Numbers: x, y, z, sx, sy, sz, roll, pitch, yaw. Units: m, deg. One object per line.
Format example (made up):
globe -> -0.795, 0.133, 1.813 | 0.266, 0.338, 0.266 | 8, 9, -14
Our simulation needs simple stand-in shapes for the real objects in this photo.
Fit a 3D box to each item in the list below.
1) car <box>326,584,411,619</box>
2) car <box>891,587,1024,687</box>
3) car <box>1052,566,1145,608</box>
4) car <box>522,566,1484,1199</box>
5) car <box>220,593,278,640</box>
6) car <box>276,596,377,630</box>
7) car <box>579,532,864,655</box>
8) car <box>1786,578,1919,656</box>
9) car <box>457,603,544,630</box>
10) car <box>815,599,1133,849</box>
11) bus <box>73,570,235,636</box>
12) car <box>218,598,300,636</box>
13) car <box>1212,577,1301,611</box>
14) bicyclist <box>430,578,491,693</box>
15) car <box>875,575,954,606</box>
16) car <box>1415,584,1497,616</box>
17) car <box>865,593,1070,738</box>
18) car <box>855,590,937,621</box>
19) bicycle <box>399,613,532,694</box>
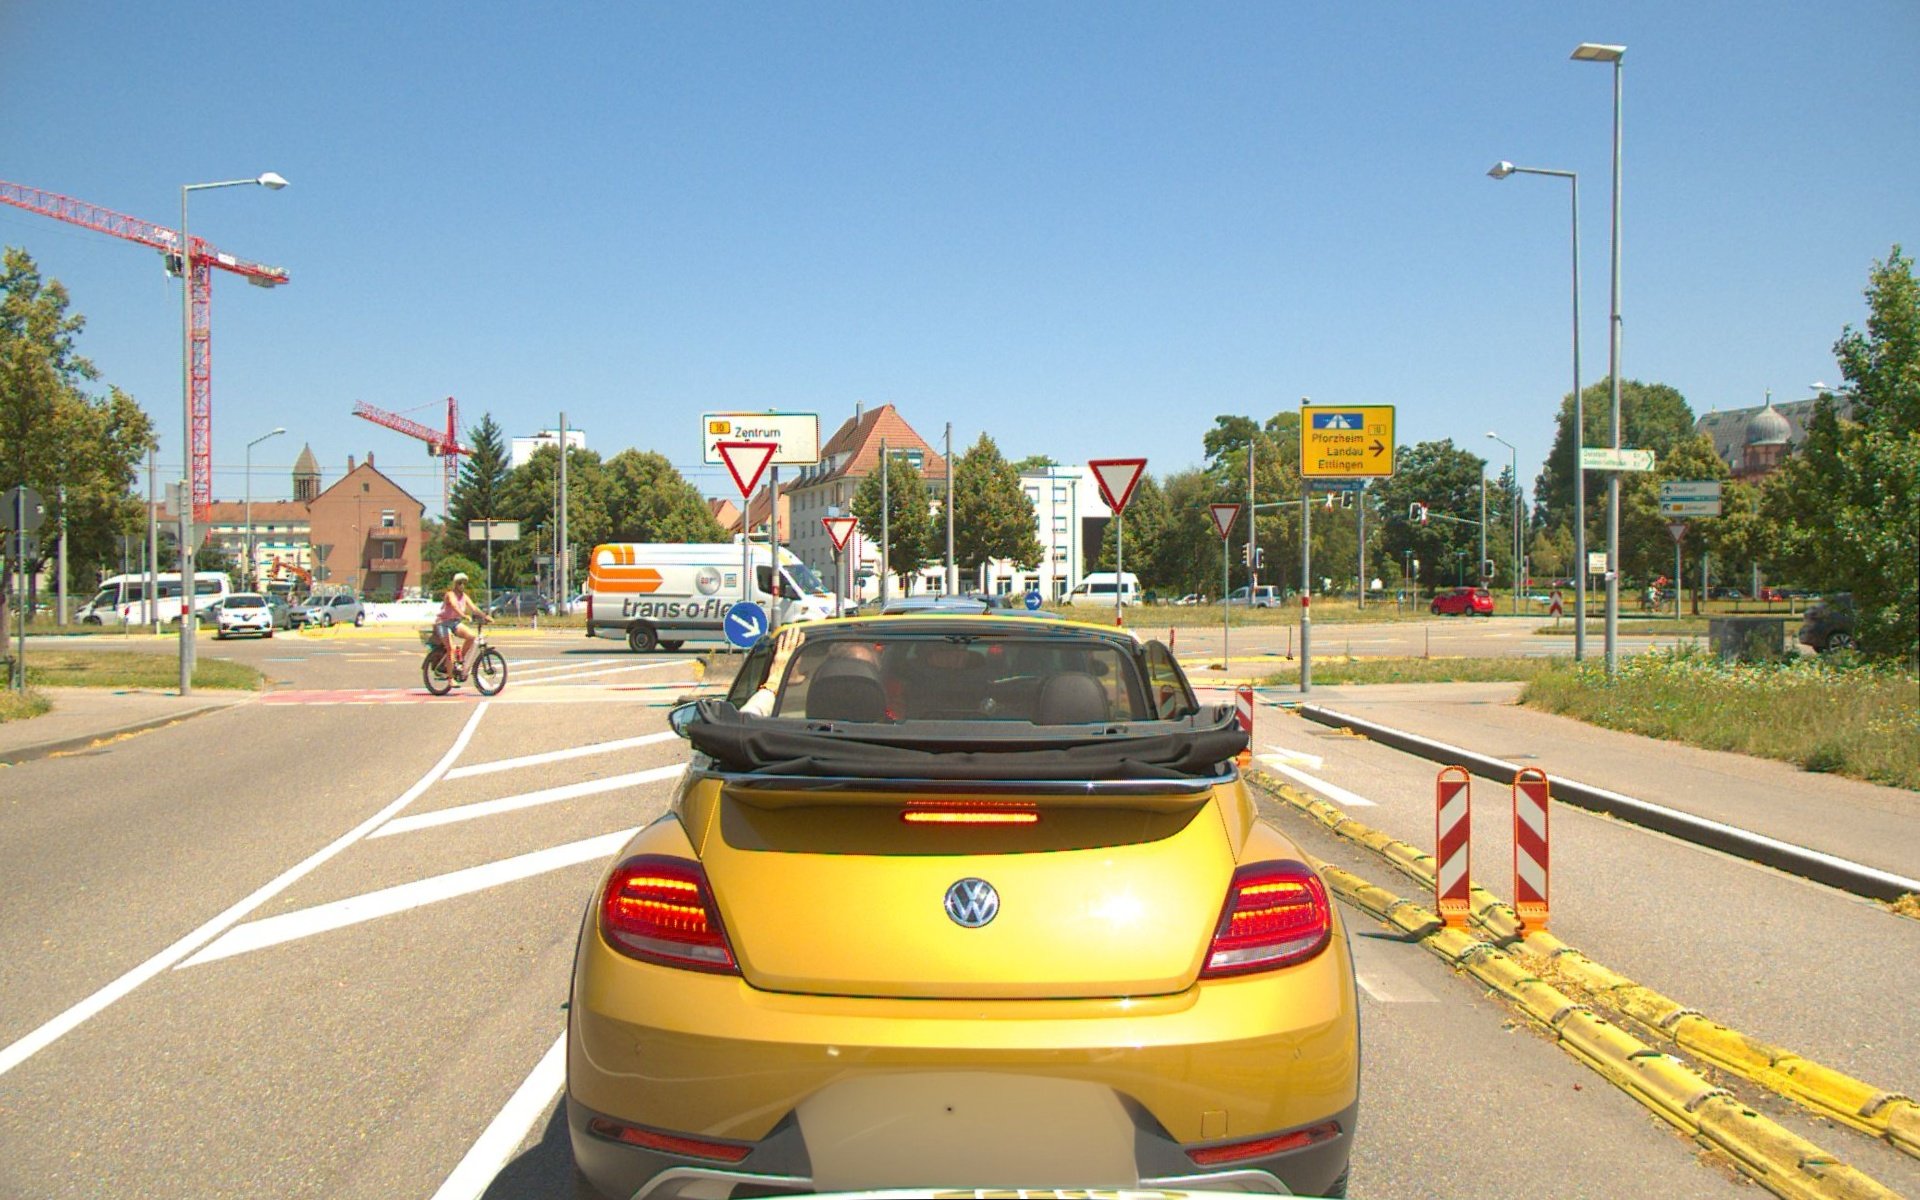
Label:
car -> -31.840, 0.080, 89.040 | 3.959, 1.803, 1.762 | 1, 0, -38
car -> -0.068, 0.558, 27.600 | 2.023, 1.506, 4.542 | -1, 0, -1
car -> 8.377, -0.798, 99.873 | 5.203, 2.439, 1.994 | 1, 0, 22
car -> 0.052, 0.715, 5.127 | 1.729, 1.507, 4.257 | 1, 0, -1
car -> -24.976, 0.546, 58.040 | 1.753, 1.554, 3.842 | -1, 0, -25
car -> -27.861, 0.563, 72.835 | 1.692, 1.427, 4.270 | 1, 0, 22
car -> -5.907, -0.184, 41.004 | 6.716, 2.877, 2.001 | 1, 0, 15
car -> 20.332, 0.352, 36.038 | 3.902, 1.579, 1.729 | 0, 2, 17
car -> -25.122, 0.893, 90.506 | 4.281, 1.395, 1.731 | 1, 0, -35
car -> 0.053, 0.710, 11.651 | 1.814, 1.389, 4.257 | -1, 0, -1
bus -> -40.963, 0.181, 84.278 | 7.143, 3.228, 2.248 | 1, 0, -19
car -> -27.534, 0.652, 65.108 | 1.713, 1.395, 4.325 | 1, 0, -6
car -> 18.799, -0.379, 105.098 | 5.219, 2.107, 1.987 | 1, 0, 35
bicyclist -> -7.878, 0.553, 26.095 | 0.656, 1.783, 0.592 | -1, 1, 20
car -> -3.115, -0.617, 112.842 | 5.210, 1.996, 1.991 | 1, 0, -7
car -> 26.790, -0.010, 89.444 | 1.871, 1.683, 4.312 | 1, 0, -25
car -> 0.040, 0.664, 18.606 | 2.023, 1.406, 4.257 | 1, 0, -1
car -> -4.360, 0.355, 113.074 | 5.197, 1.996, 1.996 | 1, 0, 13
bicycle -> -7.794, 0.832, 26.055 | 2.049, 1.242, 0.634 | -1, 0, 22
